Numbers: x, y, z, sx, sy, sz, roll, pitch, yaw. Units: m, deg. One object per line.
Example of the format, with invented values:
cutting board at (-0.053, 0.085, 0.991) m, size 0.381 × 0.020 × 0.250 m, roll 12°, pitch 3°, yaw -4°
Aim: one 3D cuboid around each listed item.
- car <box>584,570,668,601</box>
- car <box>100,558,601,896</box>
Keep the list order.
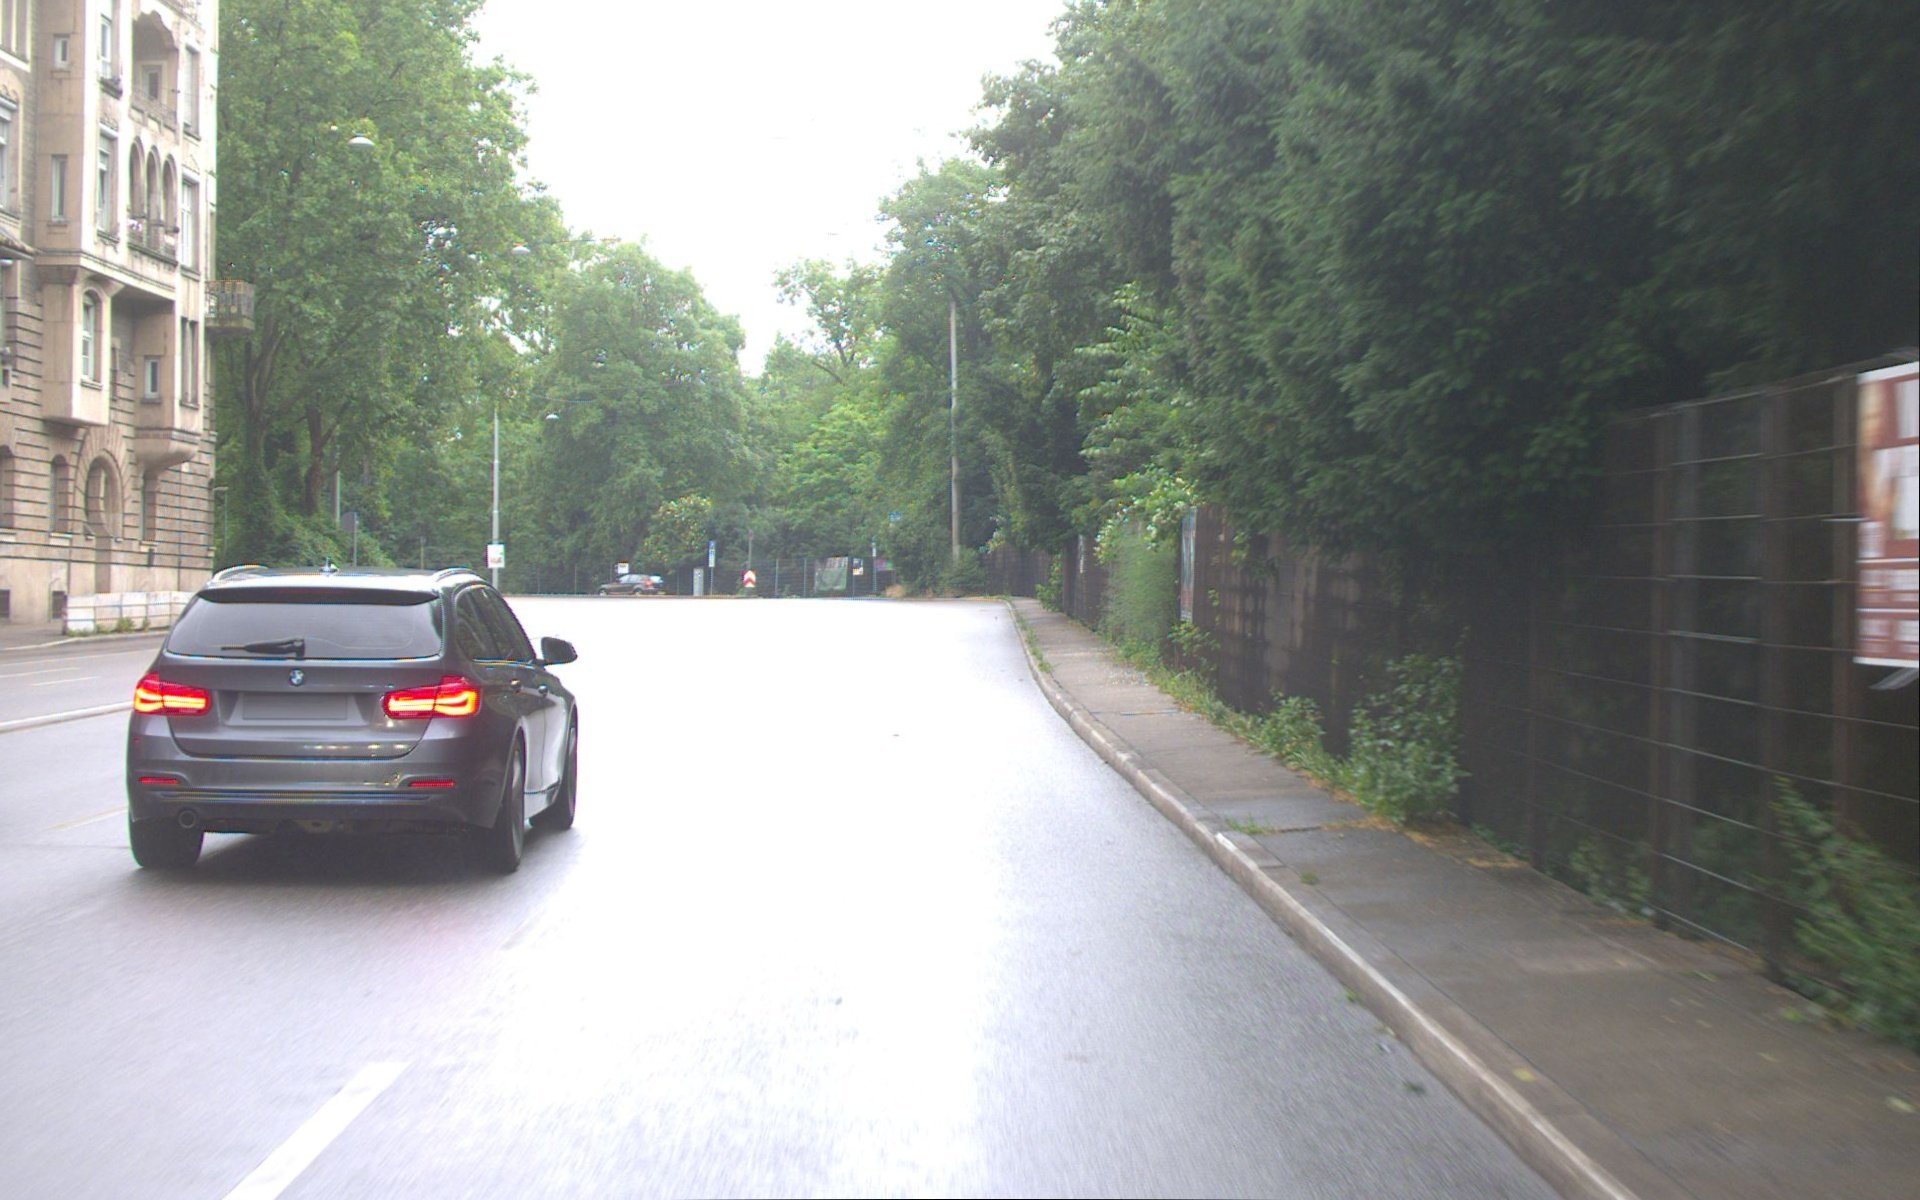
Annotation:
car at (-16.681, -0.744, 171.659) m, size 4.368 × 1.422 × 1.688 m, roll 1°, pitch -3°, yaw 44°
car at (-2.927, 0.546, 17.421) m, size 1.757 × 1.427 × 4.413 m, roll 2°, pitch 0°, yaw -1°
